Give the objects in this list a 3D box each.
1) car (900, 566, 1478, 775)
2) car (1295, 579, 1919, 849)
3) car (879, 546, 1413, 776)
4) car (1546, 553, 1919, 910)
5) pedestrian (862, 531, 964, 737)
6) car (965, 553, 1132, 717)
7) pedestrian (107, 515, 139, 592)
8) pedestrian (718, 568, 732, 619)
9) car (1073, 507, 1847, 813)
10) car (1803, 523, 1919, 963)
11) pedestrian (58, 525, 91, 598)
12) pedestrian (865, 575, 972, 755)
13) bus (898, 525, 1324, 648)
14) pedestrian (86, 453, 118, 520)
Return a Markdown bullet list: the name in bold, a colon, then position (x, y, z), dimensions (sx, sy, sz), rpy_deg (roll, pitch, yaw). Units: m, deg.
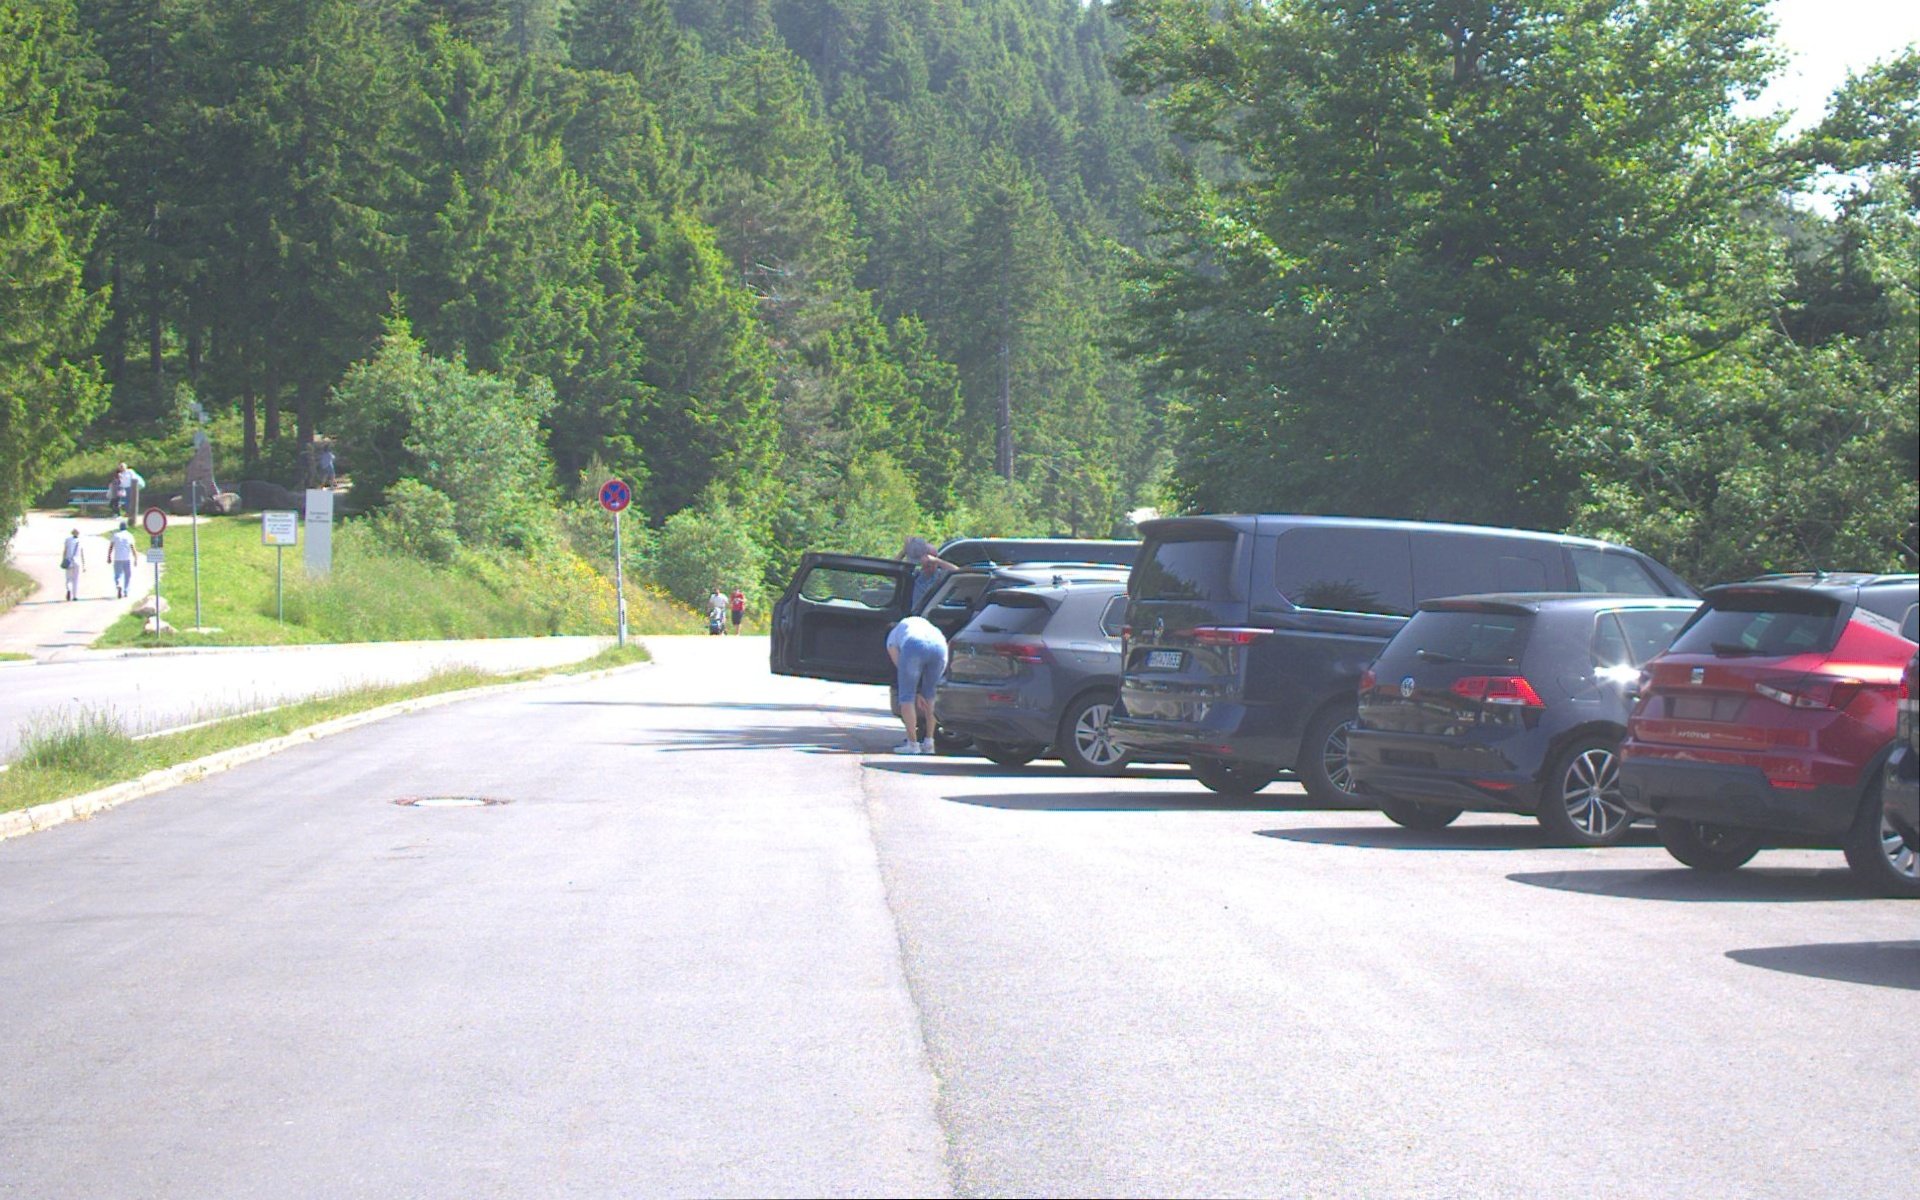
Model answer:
- **car**: position (1.756, 0.540, 26.478), dimensions (3.986, 1.438, 1.840), rpy_deg (2, 1, -22)
- **car**: position (4.136, 0.660, 20.131), dimensions (3.986, 1.410, 1.745), rpy_deg (2, 1, -29)
- **car**: position (1.591, 0.519, 29.251), dimensions (3.986, 1.656, 2.000), rpy_deg (4, -1, -29)
- **car**: position (5.071, 0.631, 17.579), dimensions (3.988, 1.584, 1.863), rpy_deg (2, 1, -39)
- **pedestrian**: position (-0.408, 0.292, 29.987), dimensions (0.579, 1.755, 0.633), rpy_deg (3, 0, -29)
- **car**: position (1.130, 0.434, 46.251), dimensions (1.905, 1.966, 4.820), rpy_deg (4, 0, -1)
- **pedestrian**: position (-19.647, -1.084, 80.703), dimensions (0.652, 1.793, 0.643), rpy_deg (-1, 1, -8)
- **pedestrian**: position (-8.079, -0.209, 117.989), dimensions (0.395, 1.741, 0.406), rpy_deg (0, 1, 7)
- **car**: position (3.371, 0.406, 23.277), dimensions (4.756, 1.873, 1.967), rpy_deg (2, 1, -20)
- **car**: position (5.718, 0.620, 14.090), dimensions (4.259, 1.689, 1.991), rpy_deg (2, 1, -34)
- **pedestrian**: position (-20.672, -0.899, 80.241), dimensions (0.652, 1.661, 0.643), rpy_deg (-1, -1, -8)
- **pedestrian**: position (-0.329, 0.516, 27.715), dimensions (0.773, 1.398, 0.669), rpy_deg (-1, 2, 5)
- **bus**: position (4.662, -0.474, 106.753), dimensions (12.869, 3.566, 2.980), rpy_deg (1, 2, 15)
- **pedestrian**: position (-26.050, -3.436, 104.389), dimensions (0.797, 2.006, 0.940), rpy_deg (-2, 2, -10)
